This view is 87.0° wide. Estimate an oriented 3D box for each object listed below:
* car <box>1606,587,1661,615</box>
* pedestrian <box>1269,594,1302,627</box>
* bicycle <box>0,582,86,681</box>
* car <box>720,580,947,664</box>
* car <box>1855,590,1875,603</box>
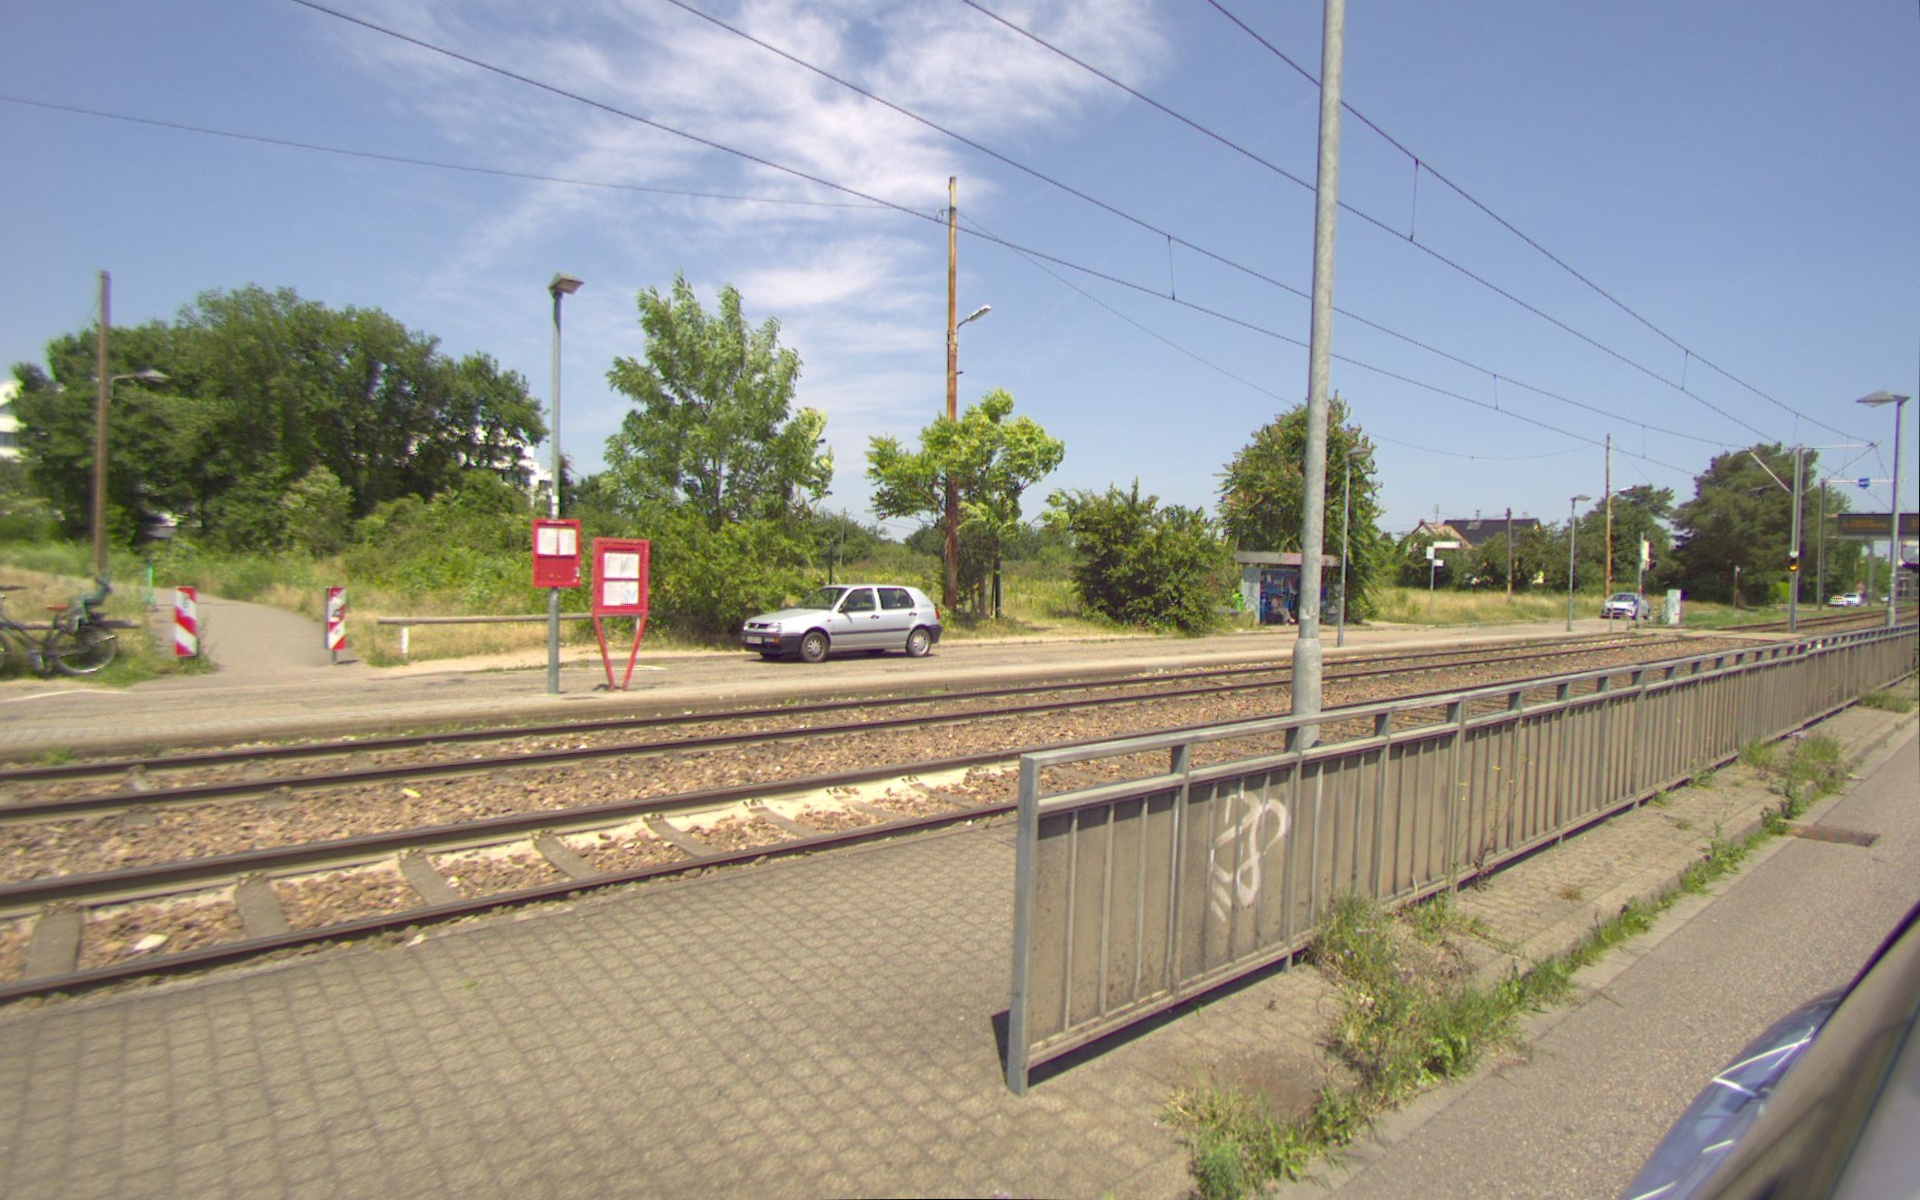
[{"bbox_3d":[37.770,0.049,56.713,3.933,1.507,1.715,-1,1,-43],"label":"car"},{"bbox_3d":[11.186,0.351,34.753,0.705,1.100,0.812,0,1,-33],"label":"pedestrian"},{"bbox_3d":[-13.009,0.415,13.723,0.693,1.285,1.673,1,2,14],"label":"bicycle"},{"bbox_3d":[-2.360,0.353,19.423,3.931,1.440,1.942,-1,1,-41],"label":"car"},{"bbox_3d":[132.147,-0.567,147.813,4.511,1.849,1.860,-1,1,-44],"label":"car"}]
